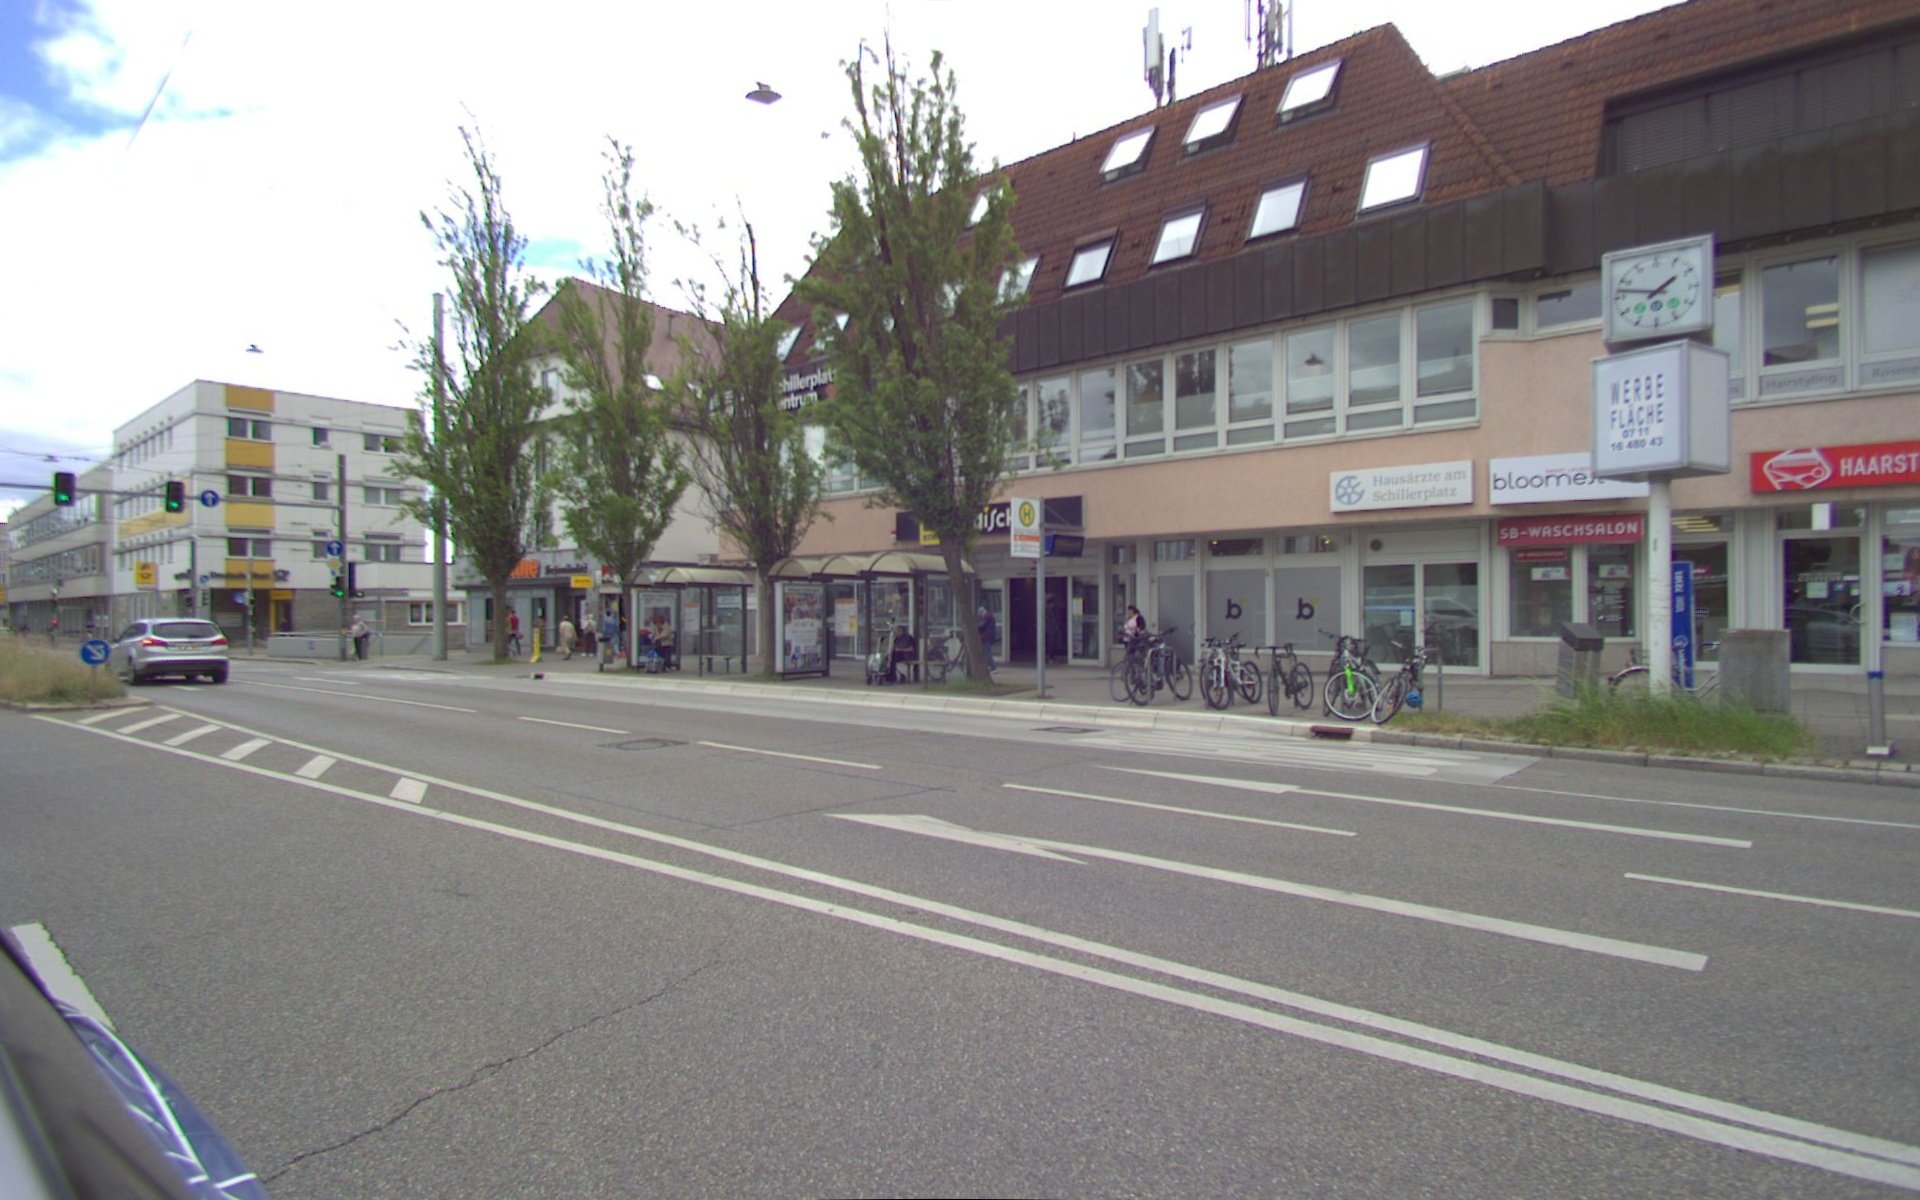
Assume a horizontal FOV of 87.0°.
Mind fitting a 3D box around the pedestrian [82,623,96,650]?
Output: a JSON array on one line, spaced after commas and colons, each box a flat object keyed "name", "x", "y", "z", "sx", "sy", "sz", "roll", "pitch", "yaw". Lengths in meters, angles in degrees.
[{"name": "pedestrian", "x": -61.963, "y": 2.594, "z": 72.013, "sx": 0.526, "sy": 1.816, "sz": 0.580, "roll": -2, "pitch": 1, "yaw": 41}]

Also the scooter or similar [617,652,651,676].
[{"name": "scooter or similar", "x": -8.525, "y": 1.664, "z": 26.460, "sx": 0.702, "sy": 0.606, "sz": 0.586, "roll": -2, "pitch": -1, "yaw": 40}]

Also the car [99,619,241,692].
[{"name": "car", "x": -18.348, "y": 1.219, "z": 23.449, "sx": 4.343, "sy": 1.517, "sz": 1.854, "roll": -1, "pitch": -2, "yaw": 42}]

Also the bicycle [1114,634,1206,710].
[{"name": "bicycle", "x": 3.235, "y": 1.112, "z": 16.202, "sx": 0.648, "sy": 1.098, "sz": 1.999, "roll": -2, "pitch": -1, "yaw": 36}]

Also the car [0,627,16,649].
[{"name": "car", "x": -89.008, "y": 3.534, "z": 93.582, "sx": 4.482, "sy": 2.029, "sz": 1.974, "roll": -2, "pitch": -1, "yaw": 39}]

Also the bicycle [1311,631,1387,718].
[{"name": "bicycle", "x": 5.547, "y": 1.013, "z": 14.361, "sx": 0.647, "sy": 1.098, "sz": 2.003, "roll": -1, "pitch": -1, "yaw": 31}]

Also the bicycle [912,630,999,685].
[{"name": "bicycle", "x": -0.115, "y": 1.202, "z": 21.451, "sx": 1.929, "sy": 1.098, "sz": 0.528, "roll": -1, "pitch": -1, "yaw": 39}]

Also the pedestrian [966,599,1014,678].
[{"name": "pedestrian", "x": 0.702, "y": 0.891, "z": 23.580, "sx": 0.754, "sy": 1.777, "sz": 0.719, "roll": -2, "pitch": 1, "yaw": 39}]

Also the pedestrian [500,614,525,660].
[{"name": "pedestrian", "x": -17.283, "y": 1.416, "z": 39.094, "sx": 0.614, "sy": 1.725, "sz": 0.580, "roll": -2, "pitch": 1, "yaw": 39}]

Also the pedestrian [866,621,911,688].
[{"name": "pedestrian", "x": -1.526, "y": 1.148, "z": 21.609, "sx": 0.588, "sy": 1.374, "sz": 0.704, "roll": -3, "pitch": -1, "yaw": 43}]

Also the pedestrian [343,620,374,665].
[{"name": "pedestrian", "x": -22.484, "y": 1.586, "z": 37.842, "sx": 0.612, "sy": 1.646, "sz": 0.695, "roll": -2, "pitch": 1, "yaw": 30}]

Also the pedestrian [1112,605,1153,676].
[{"name": "pedestrian", "x": 3.892, "y": 0.898, "z": 22.784, "sx": 0.587, "sy": 1.559, "sz": 0.704, "roll": -3, "pitch": -1, "yaw": 40}]

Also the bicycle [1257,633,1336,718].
[{"name": "bicycle", "x": 4.910, "y": 1.058, "z": 14.684, "sx": 0.647, "sy": 1.098, "sz": 2.003, "roll": -1, "pitch": -1, "yaw": 31}]

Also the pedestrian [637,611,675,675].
[{"name": "pedestrian", "x": -8.060, "y": 1.138, "z": 26.847, "sx": 0.709, "sy": 1.665, "sz": 0.583, "roll": -2, "pitch": -1, "yaw": 23}]

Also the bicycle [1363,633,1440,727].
[{"name": "bicycle", "x": 5.853, "y": 1.011, "z": 13.353, "sx": 0.647, "sy": 1.098, "sz": 2.003, "roll": -1, "pitch": -1, "yaw": 31}]

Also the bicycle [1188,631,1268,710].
[{"name": "bicycle", "x": 4.180, "y": 1.056, "z": 15.686, "sx": 0.647, "sy": 1.098, "sz": 2.003, "roll": -1, "pitch": -1, "yaw": 31}]

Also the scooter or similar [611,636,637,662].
[{"name": "scooter or similar", "x": -11.500, "y": 1.684, "z": 34.632, "sx": 0.702, "sy": 0.855, "sz": 0.586, "roll": -2, "pitch": -1, "yaw": 40}]

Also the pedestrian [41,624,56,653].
[{"name": "pedestrian", "x": -59.620, "y": 2.515, "z": 66.187, "sx": 0.526, "sy": 1.816, "sz": 0.580, "roll": -2, "pitch": 1, "yaw": 41}]

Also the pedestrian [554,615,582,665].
[{"name": "pedestrian", "x": -13.329, "y": 1.361, "z": 34.386, "sx": 0.614, "sy": 1.646, "sz": 0.580, "roll": -2, "pitch": 1, "yaw": 39}]

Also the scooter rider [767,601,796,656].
[{"name": "scooter rider", "x": -5.723, "y": 0.915, "z": 32.443, "sx": 0.587, "sy": 1.725, "sz": 0.607, "roll": -2, "pitch": 1, "yaw": 38}]

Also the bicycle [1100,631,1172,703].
[{"name": "bicycle", "x": 3.054, "y": 1.117, "z": 17.412, "sx": 0.646, "sy": 1.098, "sz": 2.006, "roll": -1, "pitch": 0, "yaw": 27}]

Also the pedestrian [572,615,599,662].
[{"name": "pedestrian", "x": -13.527, "y": 1.390, "z": 36.553, "sx": 0.614, "sy": 1.646, "sz": 0.580, "roll": -2, "pitch": 1, "yaw": 39}]

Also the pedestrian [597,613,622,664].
[{"name": "pedestrian", "x": -12.083, "y": 1.315, "z": 34.902, "sx": 0.614, "sy": 1.725, "sz": 0.580, "roll": -2, "pitch": -2, "yaw": 39}]

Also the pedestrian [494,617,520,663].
[{"name": "pedestrian", "x": -16.662, "y": 1.461, "z": 37.199, "sx": 0.614, "sy": 1.646, "sz": 0.580, "roll": -2, "pitch": 1, "yaw": 39}]
